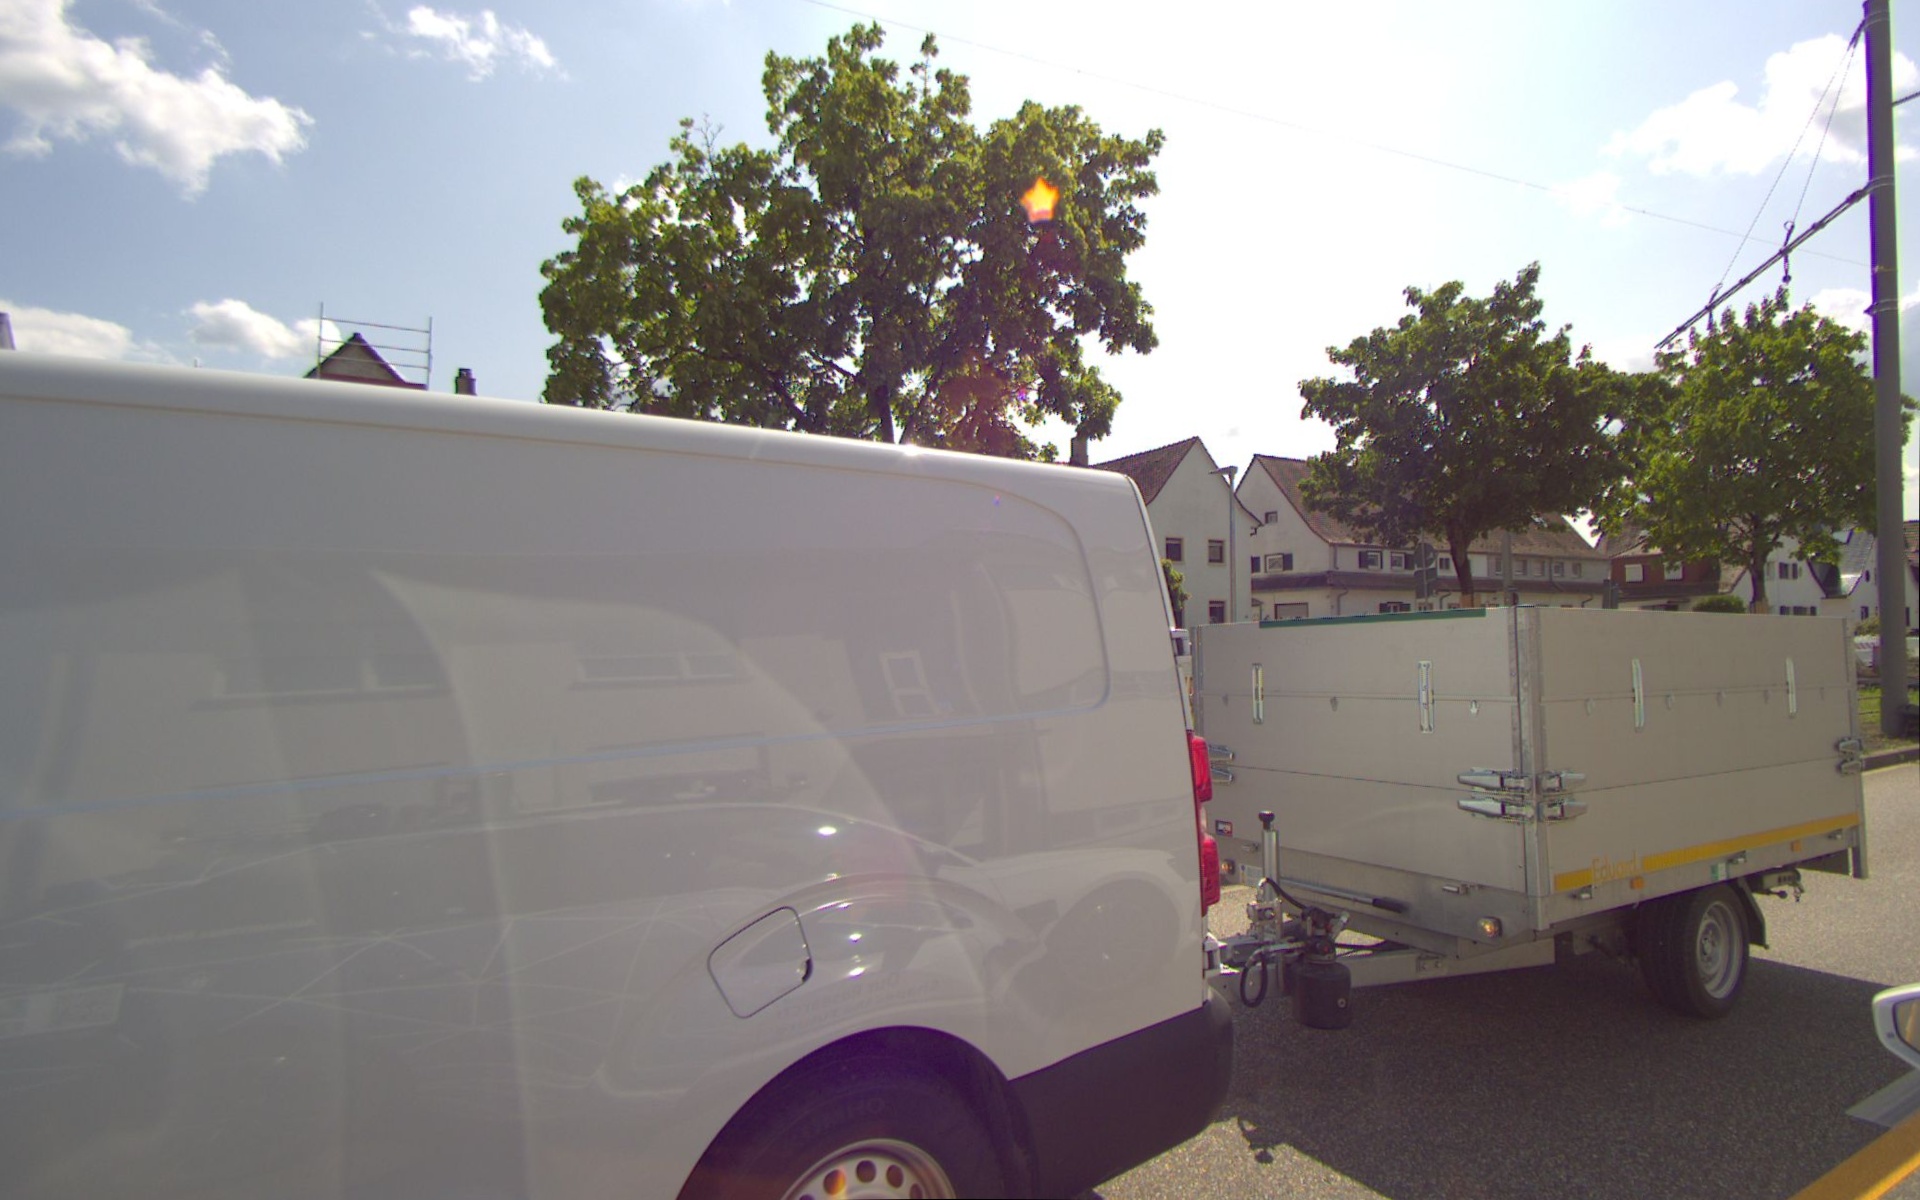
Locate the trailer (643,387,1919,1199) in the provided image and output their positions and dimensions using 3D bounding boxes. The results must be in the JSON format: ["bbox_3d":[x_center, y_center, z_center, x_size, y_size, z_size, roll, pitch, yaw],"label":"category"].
[{"bbox_3d":[1.725,0.670,4.019,5.421,1.859,2.053,1,-5,-31],"label":"trailer"}]

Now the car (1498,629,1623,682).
[{"bbox_3d":[17.251,1.565,28.803,4.210,1.394,1.530,1,-3,-36],"label":"car"}]

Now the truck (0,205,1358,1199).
[{"bbox_3d":[-1.722,0.560,1.818,5.057,1.934,1.812,2,-5,-31],"label":"truck"}]

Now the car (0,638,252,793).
[{"bbox_3d":[-10.733,1.306,11.718,3.853,1.673,1.615,1,-3,-30],"label":"car"}]

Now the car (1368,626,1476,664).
[{"bbox_3d":[19.973,1.945,43.580,1.706,1.529,3.967,0,-3,-30],"label":"car"}]

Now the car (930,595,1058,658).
[{"bbox_3d":[1.179,0.894,34.521,3.954,2.040,1.984,1,-1,-31],"label":"car"}]

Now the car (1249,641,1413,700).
[{"bbox_3d":[8.476,1.567,22.907,3.704,1.192,1.496,0,-2,-30],"label":"car"}]

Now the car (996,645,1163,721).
[{"bbox_3d":[2.378,1.580,19.794,3.135,1.342,1.333,0,-2,-33],"label":"car"}]

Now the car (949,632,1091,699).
[{"bbox_3d":[1.491,1.570,24.742,3.272,1.515,1.377,0,-2,-31],"label":"car"}]
